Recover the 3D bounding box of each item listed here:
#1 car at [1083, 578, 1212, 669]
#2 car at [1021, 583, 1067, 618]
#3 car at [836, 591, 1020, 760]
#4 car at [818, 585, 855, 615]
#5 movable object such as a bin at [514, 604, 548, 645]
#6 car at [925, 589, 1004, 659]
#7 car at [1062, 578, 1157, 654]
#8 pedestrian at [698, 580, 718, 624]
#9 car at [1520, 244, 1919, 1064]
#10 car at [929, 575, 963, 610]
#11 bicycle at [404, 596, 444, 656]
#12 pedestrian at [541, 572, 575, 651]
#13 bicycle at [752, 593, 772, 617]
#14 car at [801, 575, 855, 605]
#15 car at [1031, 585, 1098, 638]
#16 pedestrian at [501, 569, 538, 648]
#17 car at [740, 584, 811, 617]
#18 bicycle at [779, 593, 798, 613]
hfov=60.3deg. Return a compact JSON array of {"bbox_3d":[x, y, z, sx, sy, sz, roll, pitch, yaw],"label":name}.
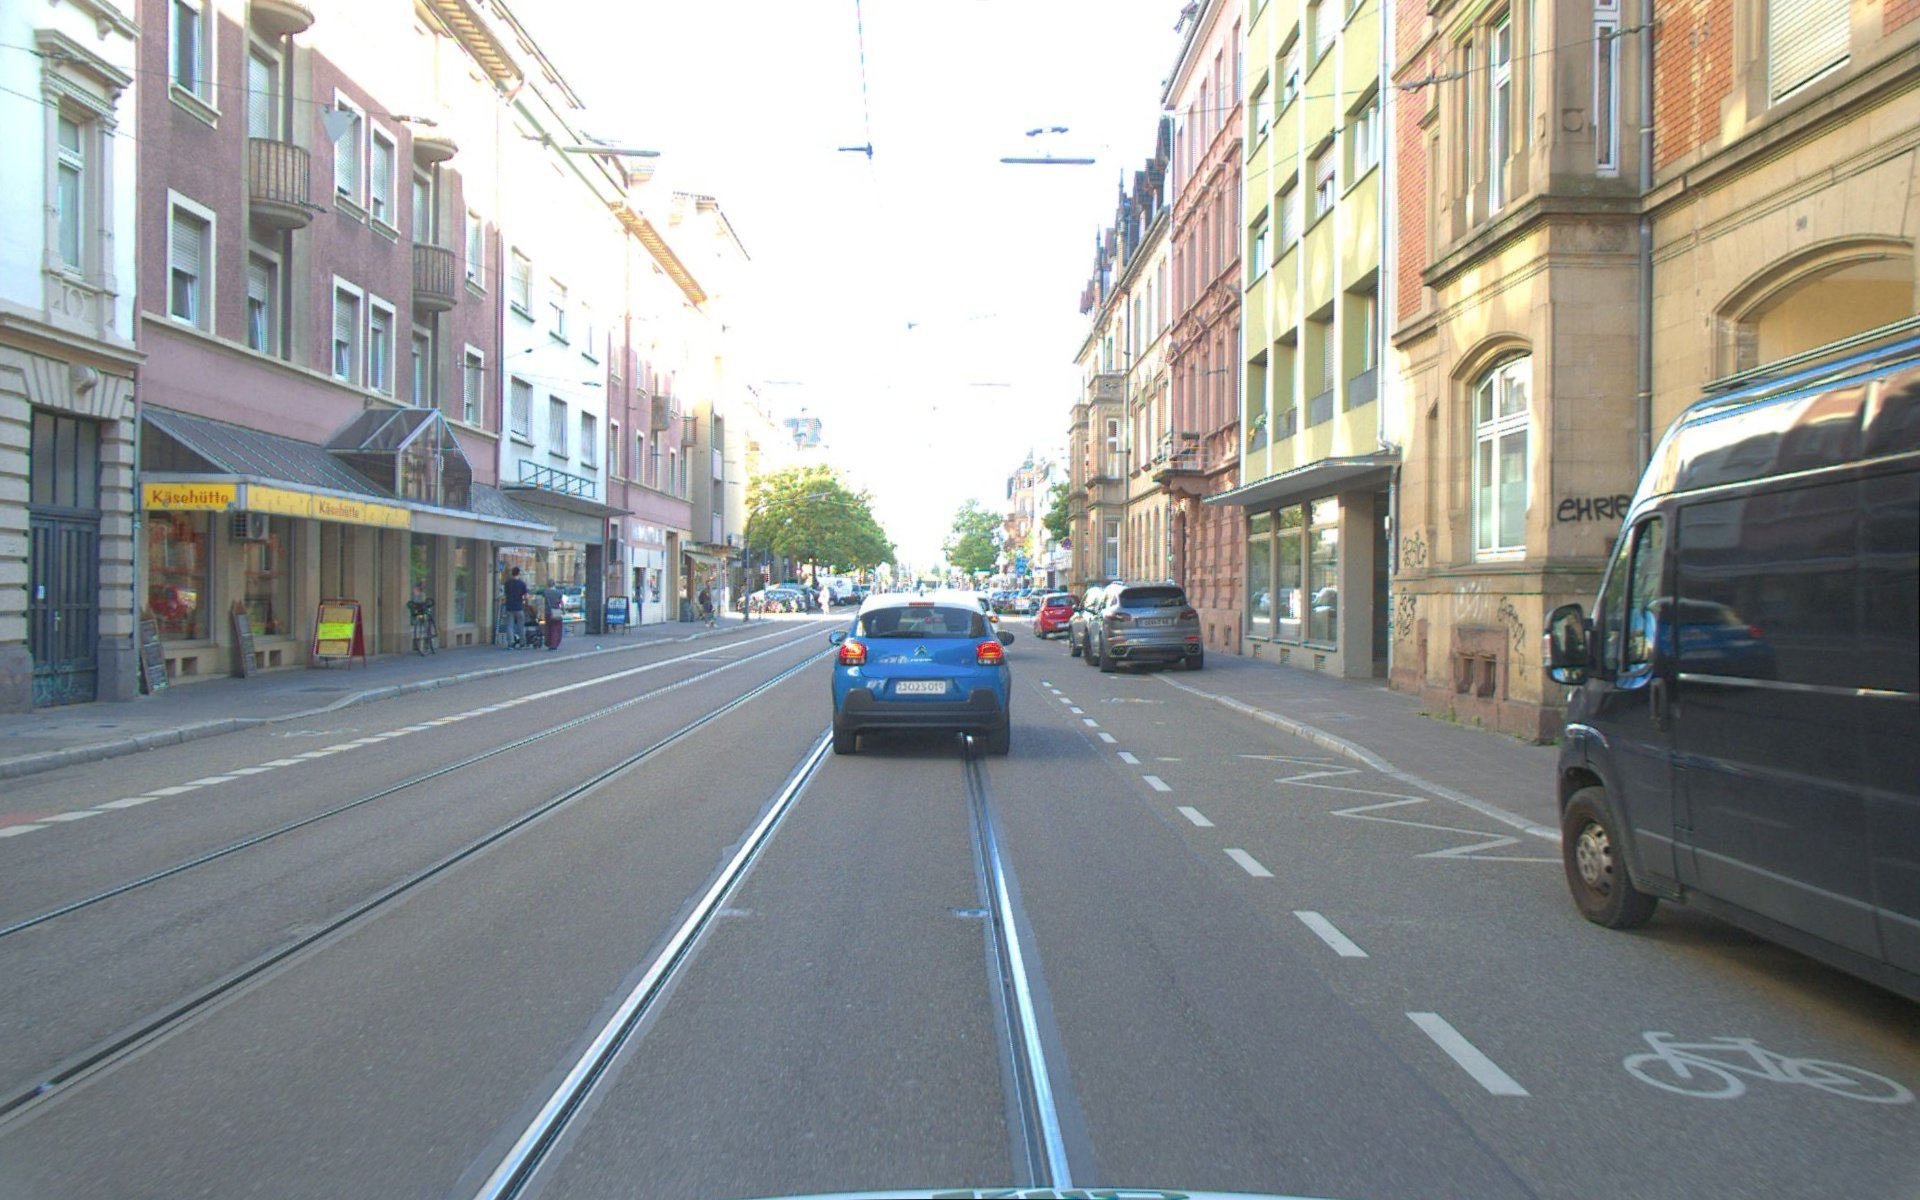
[{"bbox_3d":[3.658,0.418,33.142,1.965,1.701,4.805,0,0,-1],"label":"car"},{"bbox_3d":[4.112,0.020,81.692,1.965,1.701,4.390,0,0,-1],"label":"car"},{"bbox_3d":[-0.298,0.660,16.796,1.640,1.503,4.000,0,0,-1],"label":"car"},{"bbox_3d":[-7.030,0.002,94.298,1.953,1.680,3.999,0,0,-2],"label":"car"},{"bbox_3d":[-9.945,0.572,38.351,0.598,0.930,0.695,0,0,-1],"label":"movable object such as a bin"},{"bbox_3d":[0.057,0.502,37.671,1.633,1.504,3.999,0,0,-2],"label":"car"},{"bbox_3d":[3.640,0.372,40.967,1.867,1.788,3.999,0,0,-2],"label":"car"},{"bbox_3d":[-9.546,0.084,62.763,0.671,1.667,0.675,0,0,-2],"label":"pedestrian"},{"bbox_3d":[4.026,0.141,5.813,2.224,2.479,5.721,-1,0,1],"label":"car"},{"bbox_3d":[-0.840,-0.452,98.823,1.953,2.049,3.999,0,0,-2],"label":"car"},{"bbox_3d":[-10.947,0.511,33.818,0.610,1.180,2.058,0,0,-14],"label":"bicycle"},{"bbox_3d":[-9.188,0.256,37.842,0.697,1.795,0.653,0,0,-9],"label":"pedestrian"},{"bbox_3d":[-11.607,0.290,97.056,1.099,1.342,3.639,0,0,-6],"label":"bicycle"},{"bbox_3d":[-11.621,-0.891,145.921,4.257,2.626,2.190,0,0,-27],"label":"car"},{"bbox_3d":[3.569,0.369,57.130,1.965,1.701,4.390,1,1,-1],"label":"car"},{"bbox_3d":[-10.018,0.186,37.615,0.696,1.795,0.570,0,0,-2],"label":"pedestrian"},{"bbox_3d":[-11.646,0.040,104.694,4.219,2.052,2.210,0,0,1],"label":"car"},{"bbox_3d":[-10.106,0.149,97.323,1.099,1.166,3.639,0,0,-6],"label":"bicycle"}]
